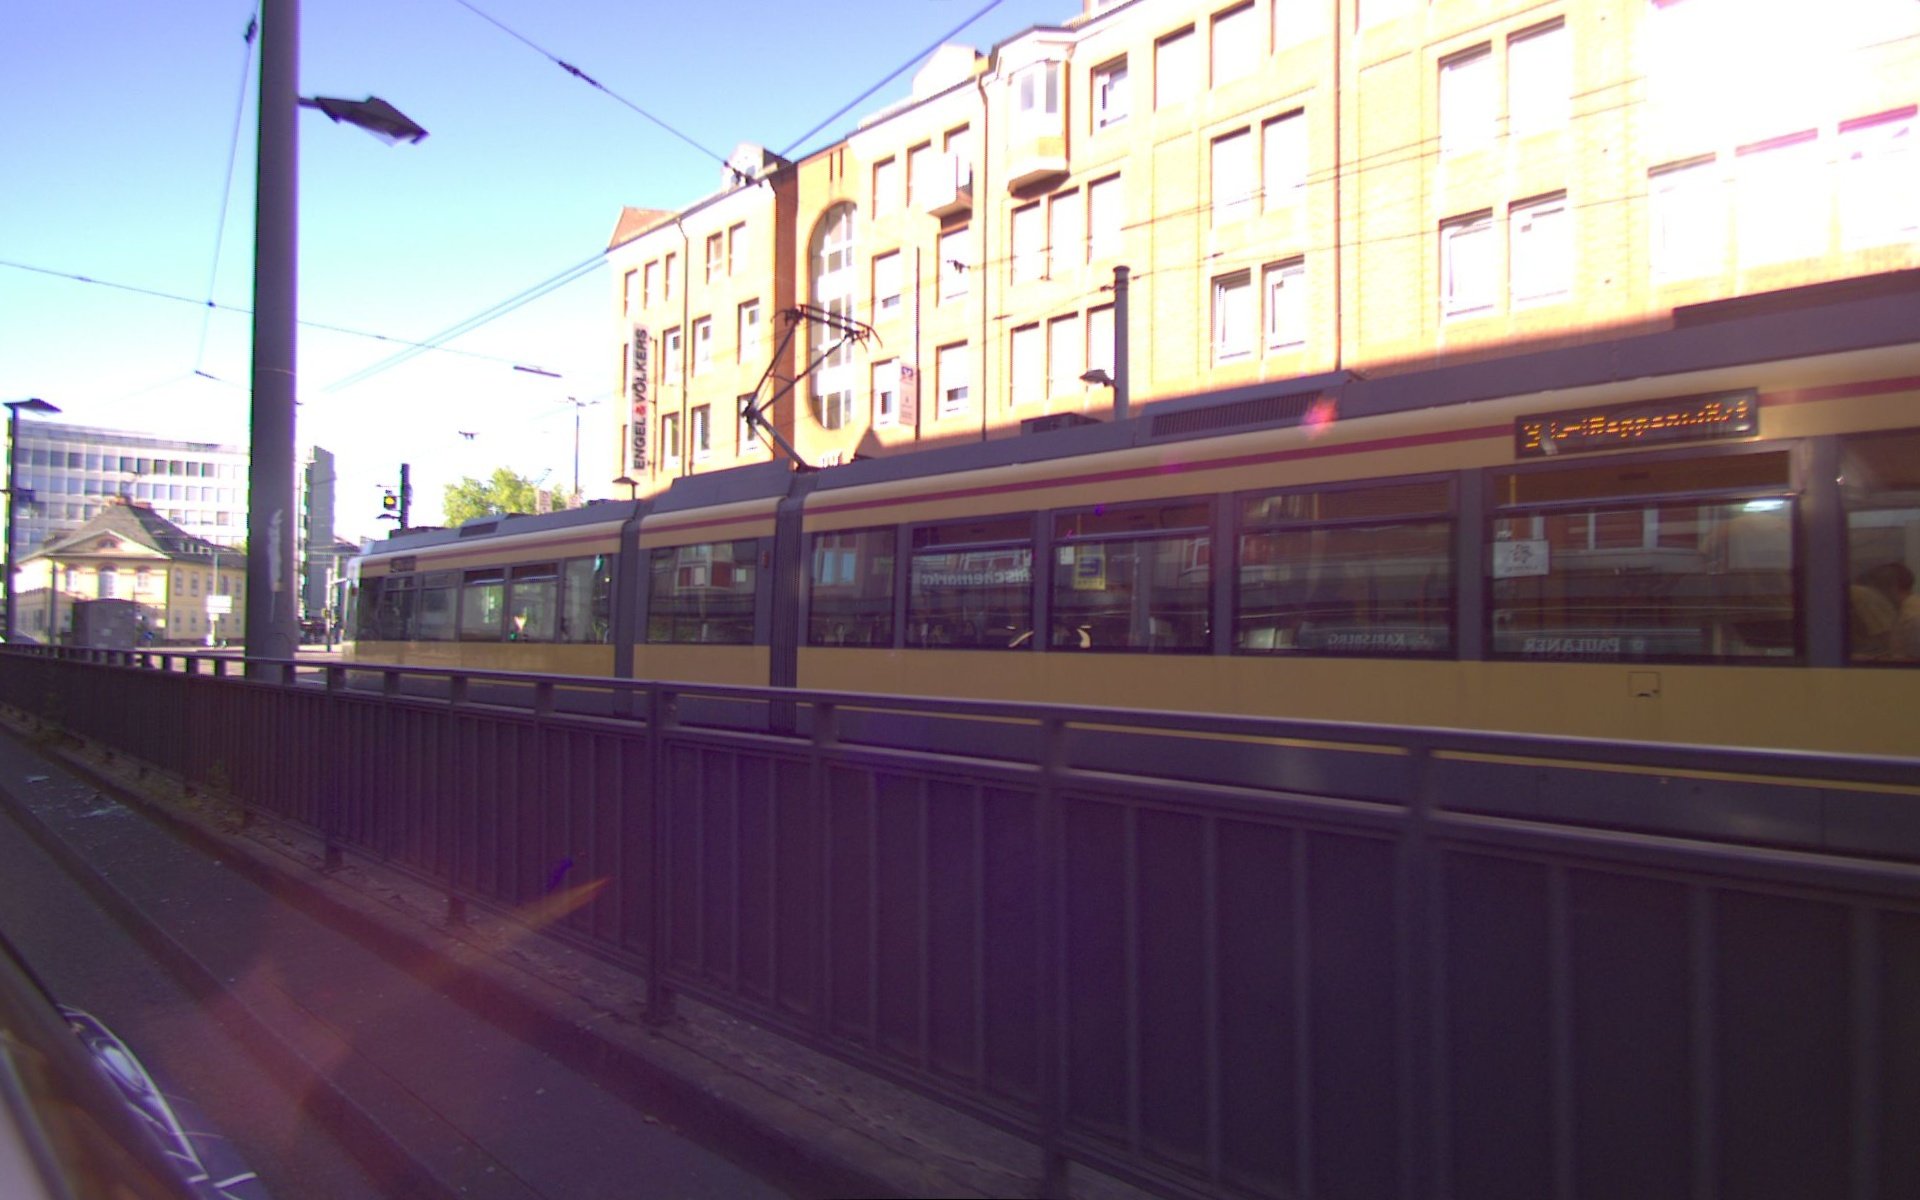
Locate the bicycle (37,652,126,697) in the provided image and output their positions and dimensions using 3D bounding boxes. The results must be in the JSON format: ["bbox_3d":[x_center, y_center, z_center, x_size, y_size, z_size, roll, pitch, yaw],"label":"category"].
[{"bbox_3d":[-21.449,1.803,24.740,0.417,1.041,1.573,-1,-2,35],"label":"bicycle"}]

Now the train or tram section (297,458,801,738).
[{"bbox_3d":[-8.633,0.102,19.068,13.939,3.672,2.942,-2,-1,42],"label":"train or tram section"}]

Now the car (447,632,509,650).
[{"bbox_3d":[-38.548,3.284,81.010,1.926,1.369,4.077,-1,-2,34],"label":"car"}]

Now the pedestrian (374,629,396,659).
[{"bbox_3d":[-39.667,3.008,69.823,1.092,2.029,1.217,-1,0,-18],"label":"pedestrian"}]

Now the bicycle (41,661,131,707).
[{"bbox_3d":[-21.087,2.021,24.449,0.417,1.029,1.573,-1,-2,35],"label":"bicycle"}]

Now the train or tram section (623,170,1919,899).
[{"bbox_3d":[2.678,-0.209,9.019,16.479,3.672,2.942,-2,-1,42],"label":"train or tram section"}]

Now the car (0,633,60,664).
[{"bbox_3d":[-46.671,2.346,49.313,3.946,1.516,1.998,0,-2,2],"label":"car"}]

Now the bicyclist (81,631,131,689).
[{"bbox_3d":[-21.086,1.457,24.984,0.899,1.391,0.741,-1,-2,36],"label":"bicyclist"}]
